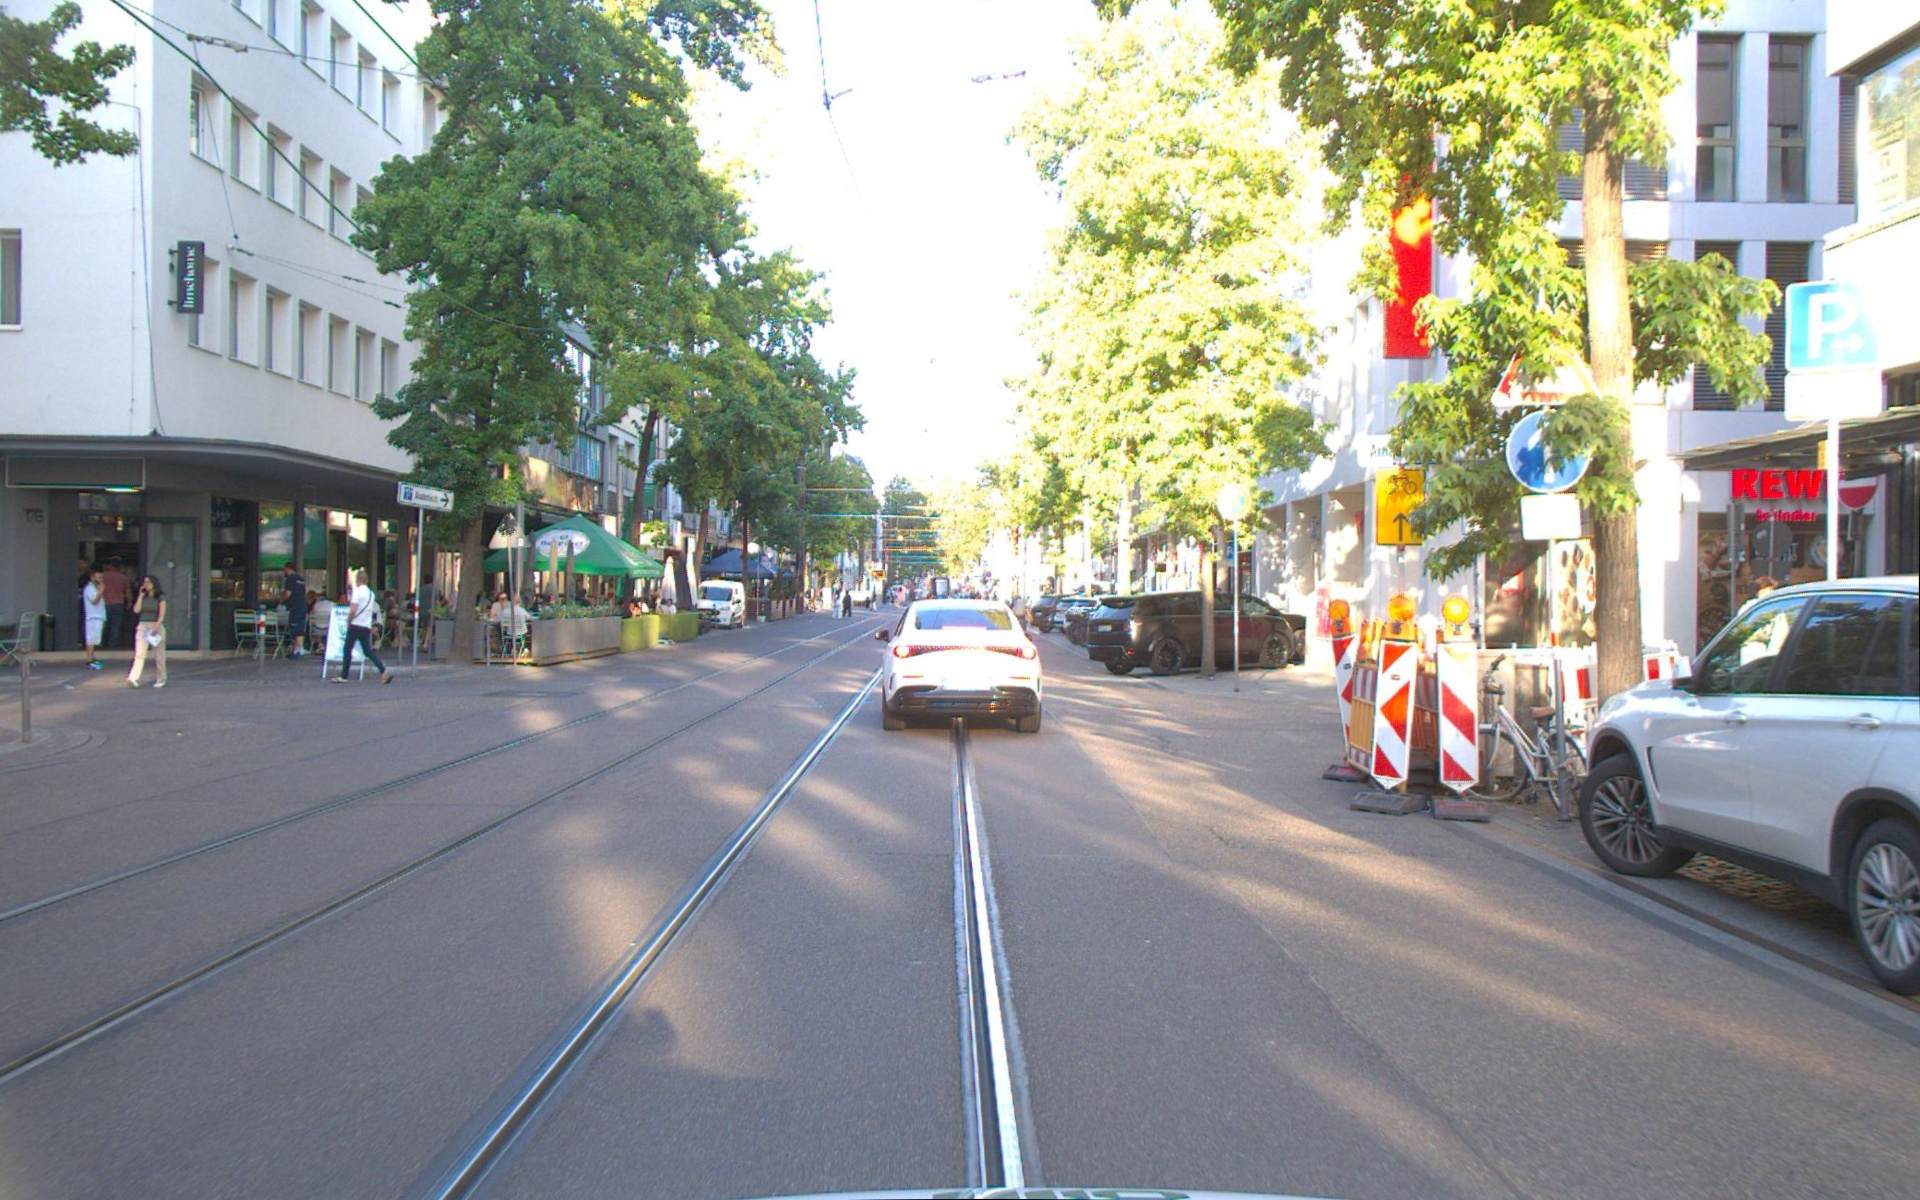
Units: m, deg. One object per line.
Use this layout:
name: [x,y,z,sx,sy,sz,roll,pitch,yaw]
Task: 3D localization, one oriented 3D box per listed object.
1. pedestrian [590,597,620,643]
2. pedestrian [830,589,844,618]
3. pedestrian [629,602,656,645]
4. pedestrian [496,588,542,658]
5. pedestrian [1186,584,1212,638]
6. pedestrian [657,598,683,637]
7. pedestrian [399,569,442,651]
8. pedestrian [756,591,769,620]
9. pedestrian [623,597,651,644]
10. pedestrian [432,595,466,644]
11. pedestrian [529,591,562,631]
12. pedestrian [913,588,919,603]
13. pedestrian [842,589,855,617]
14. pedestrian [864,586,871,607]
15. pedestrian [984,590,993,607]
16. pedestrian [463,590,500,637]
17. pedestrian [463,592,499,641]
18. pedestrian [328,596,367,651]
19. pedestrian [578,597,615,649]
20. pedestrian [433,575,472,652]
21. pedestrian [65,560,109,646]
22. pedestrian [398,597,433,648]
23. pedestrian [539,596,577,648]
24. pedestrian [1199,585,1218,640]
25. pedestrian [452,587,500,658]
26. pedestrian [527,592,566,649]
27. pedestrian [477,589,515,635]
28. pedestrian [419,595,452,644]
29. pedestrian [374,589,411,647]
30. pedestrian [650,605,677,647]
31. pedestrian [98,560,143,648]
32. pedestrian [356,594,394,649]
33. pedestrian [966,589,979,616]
pedestrian: [-9.982,0.559,46.518,0.606,1.266,0.697,4,0,-1]
pedestrian: [-6.864,0.192,92.308,0.609,1.535,0.833,3,0,0]
pedestrian: [-10.088,0.749,52.538,0.643,1.315,0.798,4,0,-1]
pedestrian: [-9.069,0.464,34.050,0.675,1.410,0.807,2,0,0]
pedestrian: [7.768,0.365,53.697,0.667,1.726,0.548,1,0,-13]
pedestrian: [-9.382,0.561,53.608,0.643,1.214,0.798,4,0,-1]
pedestrian: [-12.062,0.225,36.994,0.664,1.787,0.697,2,0,1]
pedestrian: [-9.512,0.248,79.787,0.538,1.380,0.582,2,0,-1]
pedestrian: [-9.109,0.582,46.655,0.606,1.266,0.697,4,0,-1]
pedestrian: [-12.850,0.475,41.578,0.589,1.194,0.687,2,0,0]
pedestrian: [-13.321,0.353,53.170,0.737,1.209,1.065,4,0,-1]
pedestrian: [-5.568,-0.592,209.285,0.784,1.813,0.848,2,0,-2]
pedestrian: [-6.295,0.160,93.331,0.609,1.577,0.852,3,0,0]
pedestrian: [-8.726,-0.297,156.105,0.527,1.963,0.573,0,0,3]
pedestrian: [3.255,-0.172,188.286,0.941,1.816,0.803,-1,0,-1]
pedestrian: [-13.303,0.369,46.013,0.721,1.253,0.788,4,0,-1]
pedestrian: [-12.619,0.424,43.584,0.656,1.264,0.798,2,0,-1]
pedestrian: [-13.386,0.506,36.166,0.541,1.182,0.687,2,0,0]
pedestrian: [-9.353,0.583,42.573,0.693,1.281,0.772,2,0,2]
pedestrian: [-11.442,0.292,37.321,0.606,1.699,0.697,2,0,-1]
pedestrian: [-16.730,0.052,31.685,0.396,1.632,0.619,1,0,33]
pedestrian: [-12.920,0.523,39.250,0.541,1.182,0.687,2,0,0]
pedestrian: [-10.370,0.562,42.651,0.693,1.281,0.869,2,0,2]
pedestrian: [8.104,0.400,53.990,0.512,1.781,0.559,-2,0,1]
pedestrian: [-9.936,0.450,33.964,0.675,1.410,0.807,2,0,0]
pedestrian: [-10.100,0.496,40.414,0.675,1.334,0.807,2,0,0]
pedestrian: [-13.233,0.337,47.222,0.761,1.258,0.945,4,0,-1]
pedestrian: [-12.860,0.469,40.594,0.541,1.182,0.687,2,0,0]
pedestrian: [-13.207,0.414,38.500,0.590,1.321,0.687,2,0,0]
pedestrian: [-9.445,0.822,52.709,0.643,1.266,0.872,4,0,-1]
pedestrian: [-15.785,0.065,31.102,0.396,1.632,0.619,1,0,33]
pedestrian: [-12.863,0.468,36.373,0.541,1.182,0.687,2,0,0]
pedestrian: [0.853,0.182,113.017,0.824,1.832,0.790,2,0,0]
